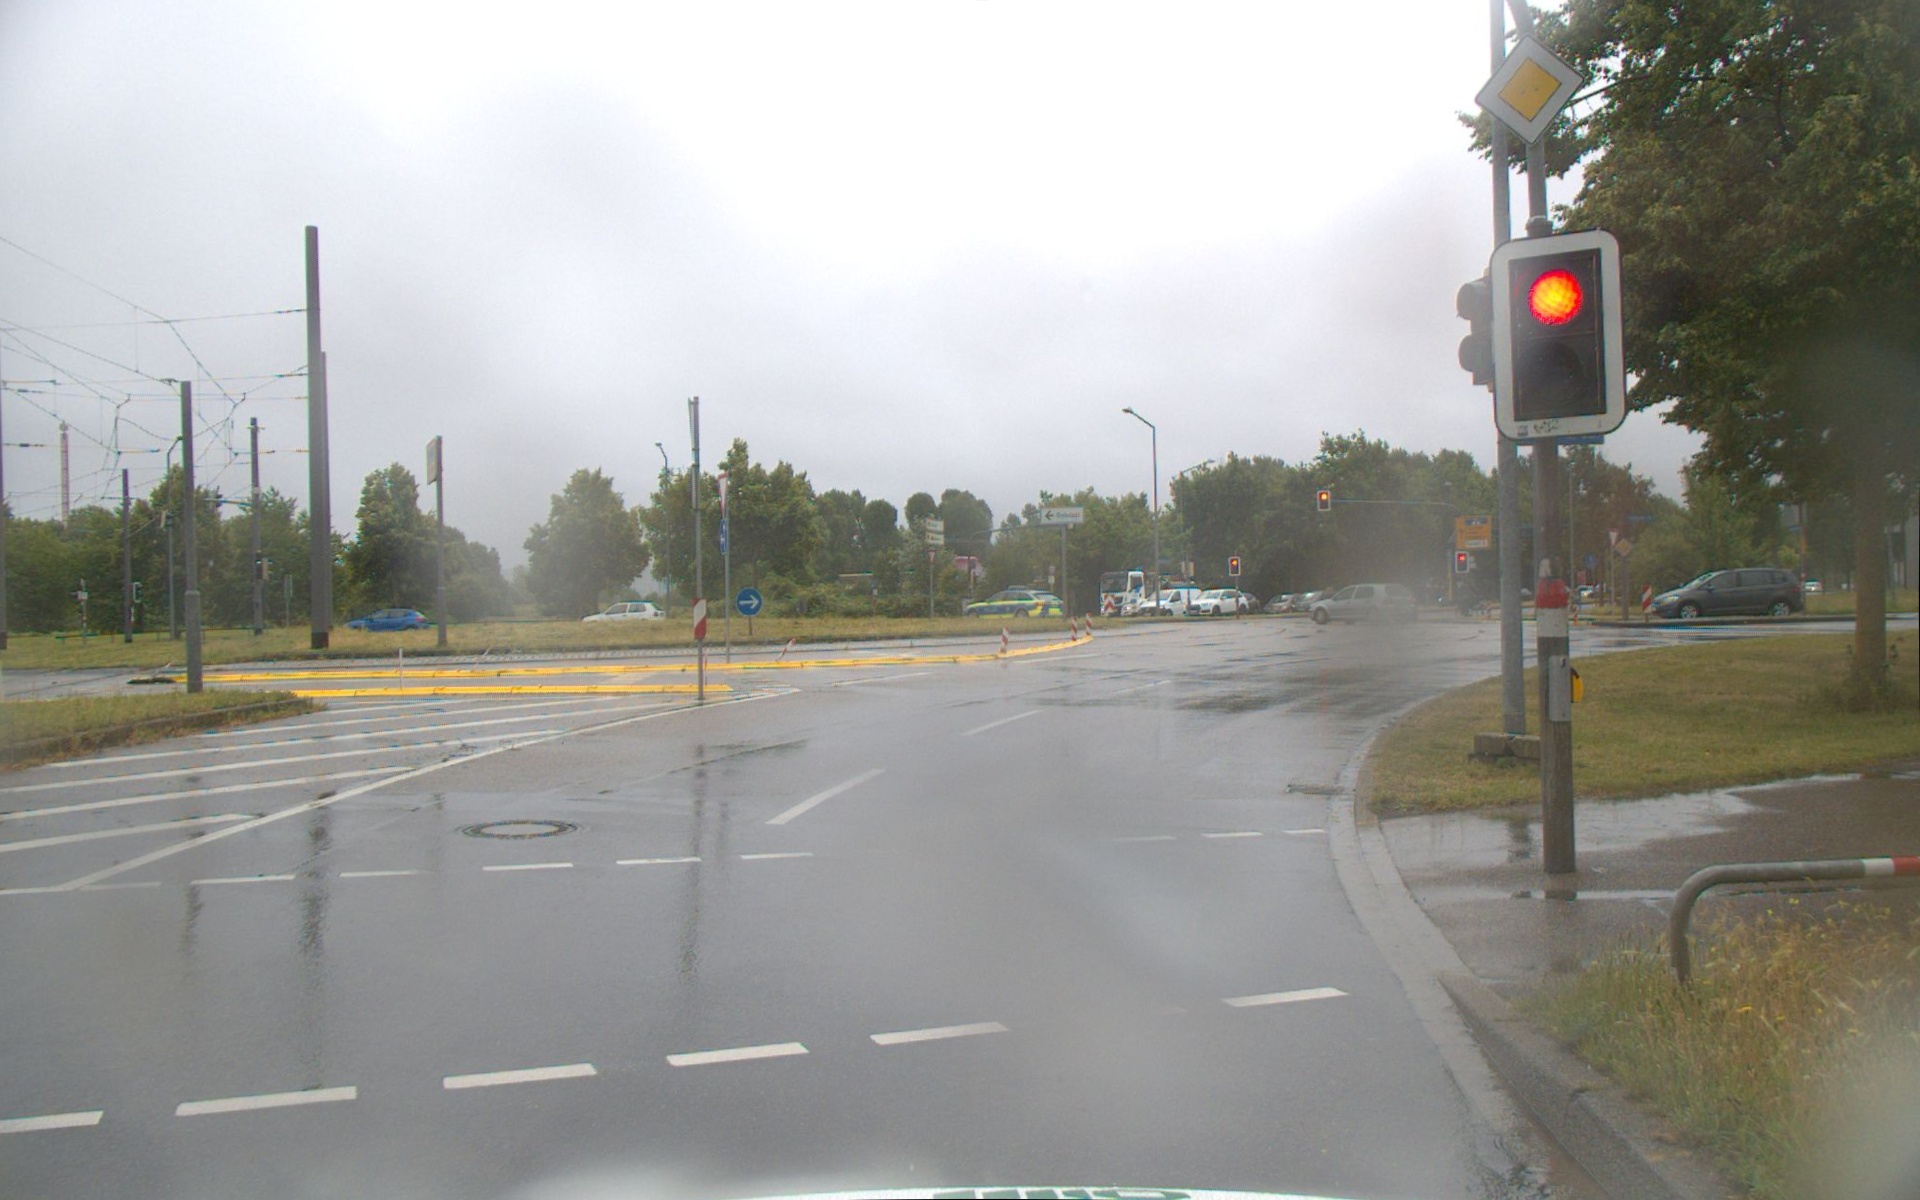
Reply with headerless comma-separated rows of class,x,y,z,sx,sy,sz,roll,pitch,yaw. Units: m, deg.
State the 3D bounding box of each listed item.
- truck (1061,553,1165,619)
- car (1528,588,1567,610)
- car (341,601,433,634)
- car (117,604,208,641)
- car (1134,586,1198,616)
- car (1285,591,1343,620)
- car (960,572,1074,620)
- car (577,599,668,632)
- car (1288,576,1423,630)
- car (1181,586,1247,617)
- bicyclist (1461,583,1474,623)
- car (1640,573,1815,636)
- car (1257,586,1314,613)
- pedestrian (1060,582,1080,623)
truck,6.974,-0.558,74.335,2.411,2.733,8.058,1,-1,22
car,48.862,-0.085,137.546,1.769,1.691,3.979,0,-1,40
car,-27.269,0.823,78.830,3.902,1.479,1.620,-1,0,-10
car,-40.537,1.162,84.151,1.644,1.848,3.994,1,-1,28
car,12.016,0.065,96.426,1.769,1.691,4.112,0,-1,40
car,22.326,0.369,104.232,1.769,1.691,4.386,0,-1,40
car,2.332,-0.144,68.573,1.985,1.883,4.699,-1,0,-44
car,-15.952,0.735,78.269,3.890,1.479,1.625,-1,0,6
car,14.374,0.118,60.328,1.975,1.884,4.721,2,-1,-33
car,14.583,0.093,94.807,1.769,1.691,4.386,0,-1,40
bicyclist,22.928,0.134,74.746,0.485,1.772,0.591,1,-1,22
car,24.346,0.153,52.625,4.659,1.884,2.001,1,-1,7
car,21.407,-0.060,108.717,1.769,1.691,4.386,-1,0,40
pedestrian,3.621,0.079,54.406,0.445,1.327,0.484,-1,0,38
